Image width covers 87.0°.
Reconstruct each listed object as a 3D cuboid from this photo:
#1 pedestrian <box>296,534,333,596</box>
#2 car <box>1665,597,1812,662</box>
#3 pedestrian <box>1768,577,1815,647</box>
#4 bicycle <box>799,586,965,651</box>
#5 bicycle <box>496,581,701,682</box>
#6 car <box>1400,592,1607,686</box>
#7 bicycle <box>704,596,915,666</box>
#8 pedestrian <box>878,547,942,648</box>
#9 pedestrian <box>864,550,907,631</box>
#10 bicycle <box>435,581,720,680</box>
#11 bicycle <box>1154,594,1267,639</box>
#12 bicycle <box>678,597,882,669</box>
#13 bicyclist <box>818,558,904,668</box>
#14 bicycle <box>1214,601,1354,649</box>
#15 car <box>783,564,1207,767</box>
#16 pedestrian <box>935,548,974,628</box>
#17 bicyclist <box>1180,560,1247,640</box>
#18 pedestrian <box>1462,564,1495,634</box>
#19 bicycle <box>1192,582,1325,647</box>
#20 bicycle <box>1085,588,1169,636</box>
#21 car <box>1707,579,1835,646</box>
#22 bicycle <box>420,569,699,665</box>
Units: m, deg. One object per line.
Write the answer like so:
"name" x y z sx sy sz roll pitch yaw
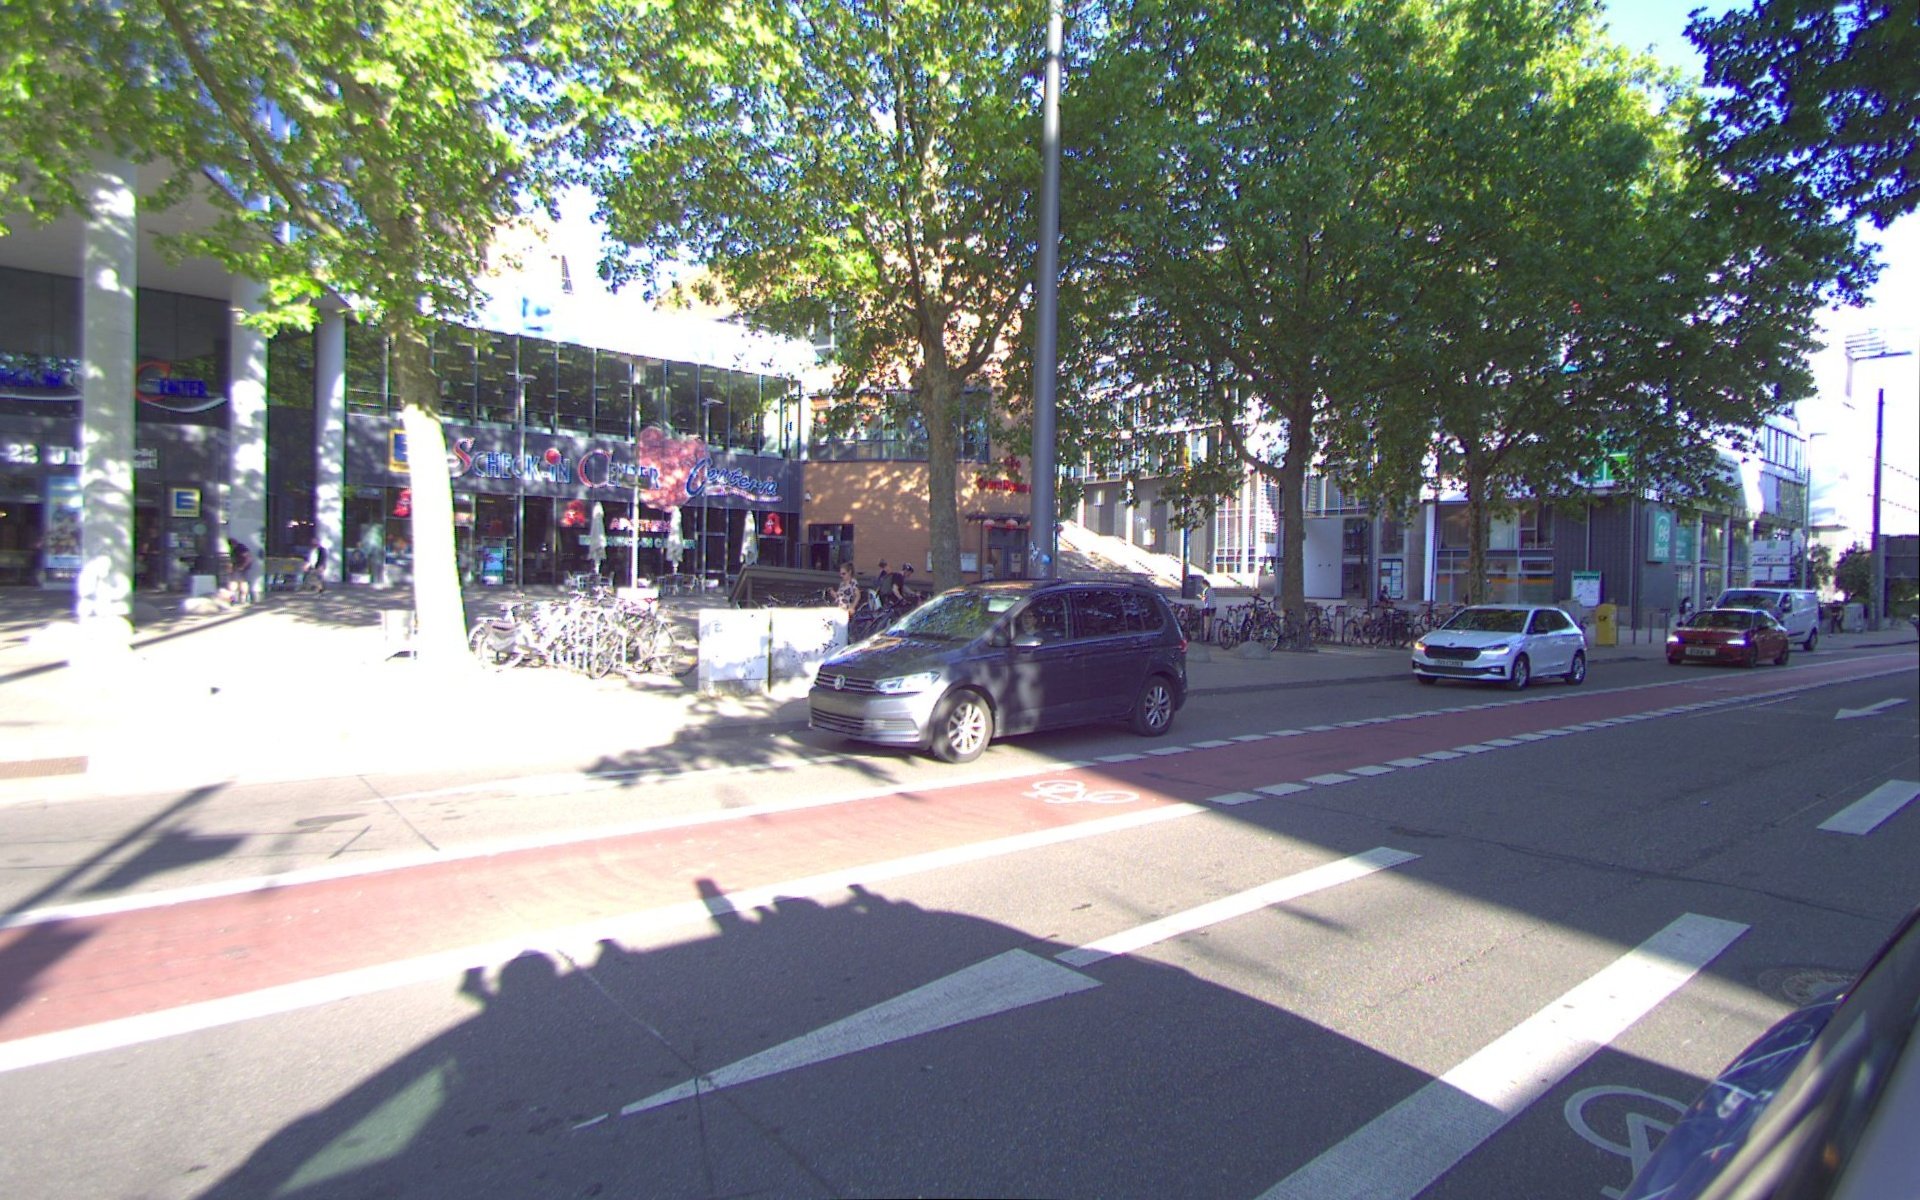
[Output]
"pedestrian" -18.798 -1.012 29.487 0.823 1.765 0.645 0 1 -41
"car" 19.485 0.692 25.281 4.116 1.508 1.836 0 -1 -36
"pedestrian" 24.889 0.364 30.309 0.959 2.039 0.816 1 -1 -31
"bicycle" -1.195 0.257 16.063 2.591 0.960 0.924 -1 0 -41
"bicycle" -4.854 0.377 13.711 2.504 1.236 0.758 -2 1 -35
"car" 9.903 0.617 18.335 4.119 1.508 1.835 0 0 -39
"bicycle" -2.370 0.447 16.421 3.352 1.014 1.050 -1 0 -41
"pedestrian" -1.028 -0.069 21.127 0.922 2.039 1.085 2 1 24
"pedestrian" -2.145 -0.268 29.048 1.195 2.276 1.052 0 0 -3
"bicycle" -5.375 0.372 14.498 3.744 1.236 0.758 -2 1 -35
"bicycle" 6.559 0.406 26.810 1.124 1.097 3.341 0 0 -23
"bicycle" -3.009 0.512 17.297 3.352 1.013 1.051 -1 6 -41
"bicyclist" -1.547 0.192 15.759 1.005 1.641 0.902 0 0 -41
"bicycle" 7.535 0.548 23.536 3.136 1.038 0.979 0 0 -18
"car" 0.512 0.525 10.312 4.313 1.656 1.709 0 0 -40
"pedestrian" -0.154 -0.342 28.870 0.884 2.261 0.845 0 0 -19
"bicyclist" 6.647 -0.028 26.602 1.132 2.039 1.301 0 1 -24
"pedestrian" 20.130 -0.036 39.305 0.967 2.681 0.897 0 0 18
"bicycle" 7.218 0.324 24.479 3.156 1.503 0.896 -1 1 -19
"bicycle" 4.505 0.302 27.120 2.653 1.215 0.698 -1 1 -41
"car" 26.080 0.353 32.464 5.810 1.989 1.933 0 0 -38
"bicycle" -5.868 0.294 15.098 3.743 1.236 0.729 4 -2 -35
